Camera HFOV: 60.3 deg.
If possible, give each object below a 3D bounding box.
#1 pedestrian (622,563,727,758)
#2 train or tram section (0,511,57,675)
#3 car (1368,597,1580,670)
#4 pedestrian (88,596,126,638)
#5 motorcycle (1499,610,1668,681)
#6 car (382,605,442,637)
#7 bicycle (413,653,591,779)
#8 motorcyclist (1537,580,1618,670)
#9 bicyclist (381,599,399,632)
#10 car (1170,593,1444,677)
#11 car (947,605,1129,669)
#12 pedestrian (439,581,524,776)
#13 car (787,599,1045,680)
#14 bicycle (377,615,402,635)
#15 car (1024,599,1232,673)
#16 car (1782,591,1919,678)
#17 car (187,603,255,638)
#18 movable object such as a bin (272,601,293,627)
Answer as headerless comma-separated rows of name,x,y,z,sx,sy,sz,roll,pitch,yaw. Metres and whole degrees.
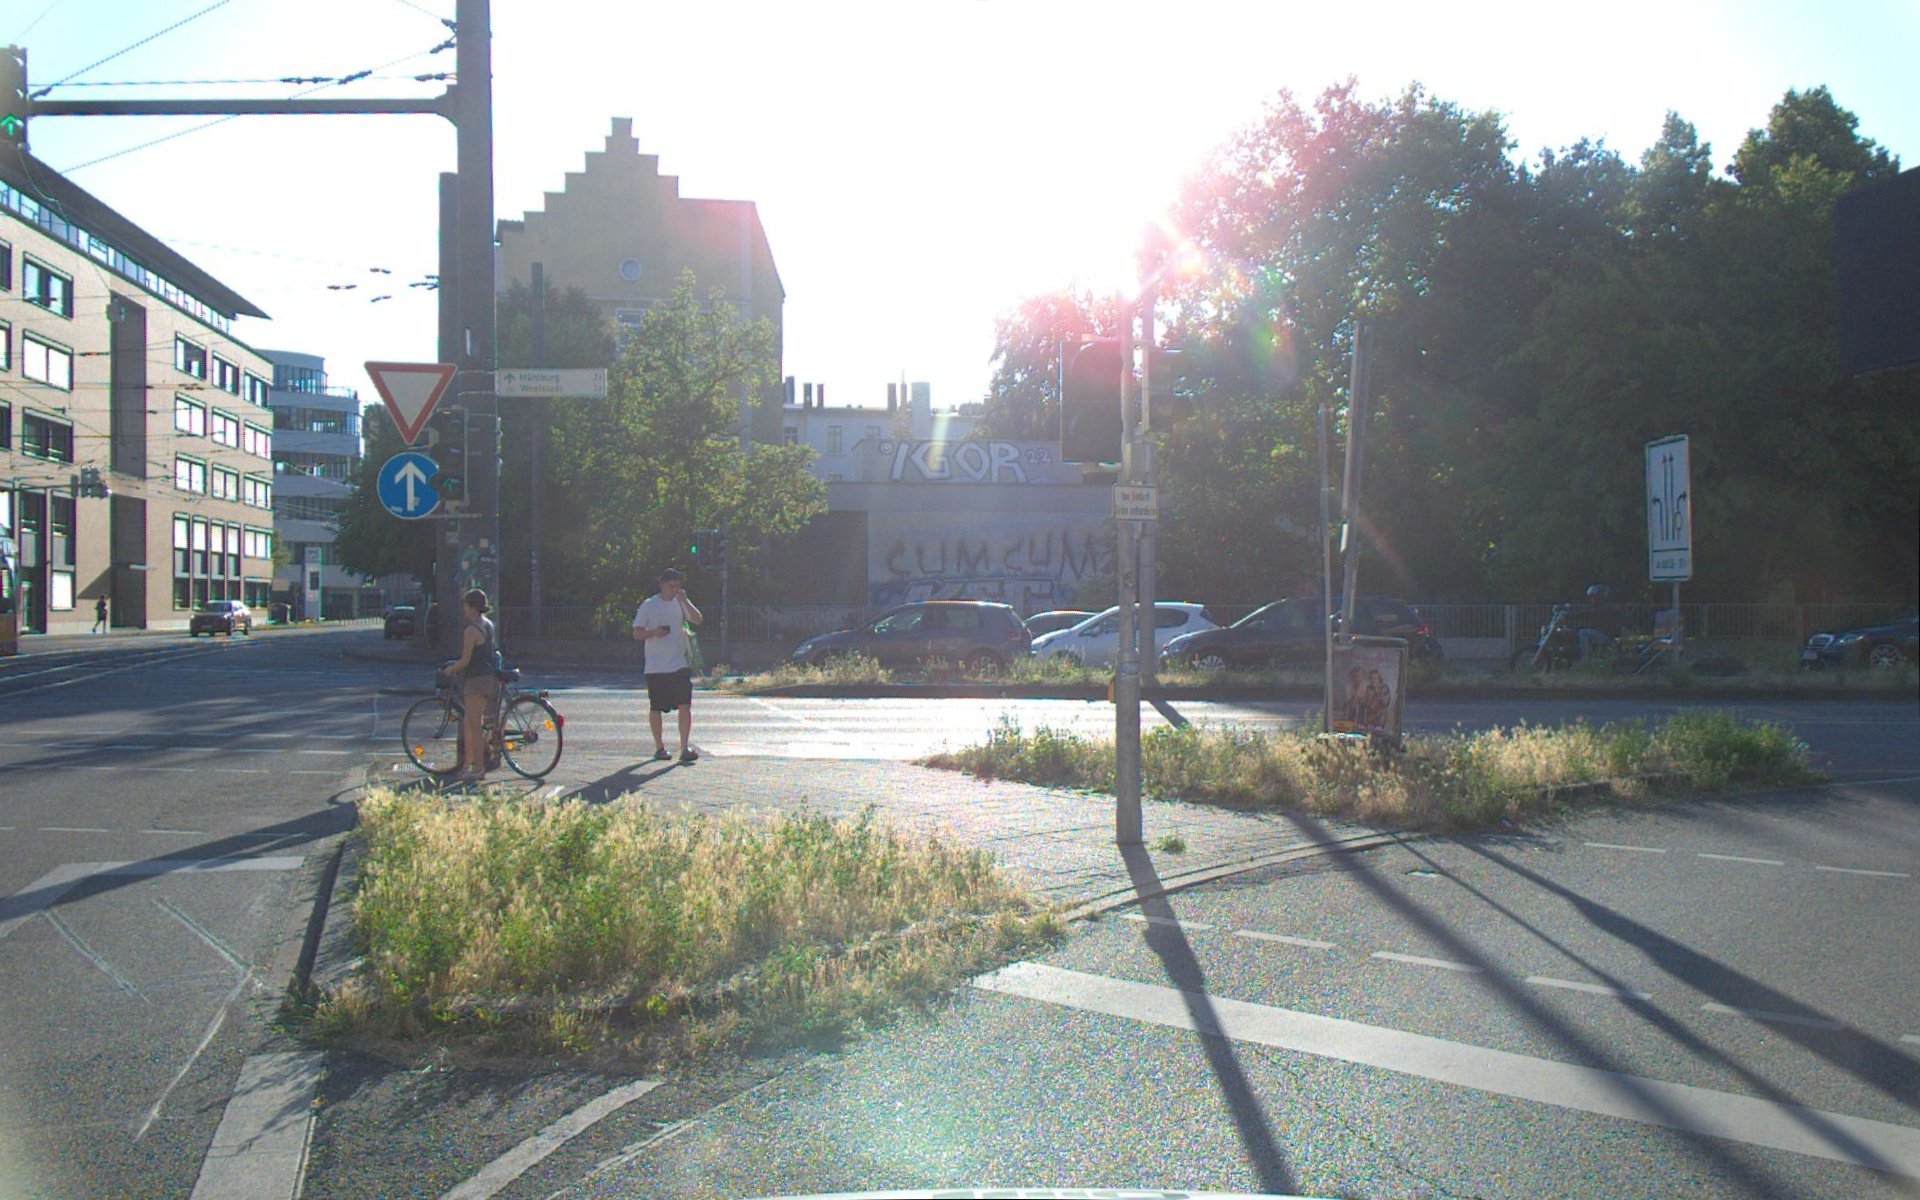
pedestrian,-2.763,0.561,15.963,0.894,1.820,0.823,0,0,-18
train or tram section,-22.285,-0.147,35.809,2.817,3.569,11.237,0,0,-18
car,10.838,0.689,35.060,3.906,1.489,1.859,0,0,-1
pedestrian,-42.443,0.839,82.304,1.217,2.049,1.551,0,0,-8
motorcycle,10.068,0.727,26.789,2.409,1.127,0.862,0,0,6
car,-24.717,0.933,74.696,1.750,1.412,3.995,0,0,-6
bicycle,-4.027,0.997,14.511,1.633,1.047,0.399,-1,-1,25
motorcyclist,9.993,0.404,26.800,1.035,1.422,0.855,0,0,6
bicyclist,-27.100,0.720,78.626,0.660,1.549,0.812,0,0,-7
car,5.630,0.563,27.287,4.270,1.319,1.725,0,0,6
car,1.696,0.782,35.523,3.800,1.319,1.725,0,0,4
pedestrian,-4.155,0.668,14.373,0.513,1.660,0.489,-1,-1,25
car,-0.708,0.655,28.073,4.144,1.319,1.726,0,0,7
bicycle,-27.091,1.173,78.581,0.681,0.892,2.024,0,0,-6
car,3.144,0.675,31.307,3.800,1.342,1.725,0,0,4
car,18.126,0.605,30.260,5.166,1.522,2.000,0,0,0
car,-35.270,0.965,79.029,1.782,1.643,4.457,0,0,-8
movable object such as a bin,-43.576,0.902,106.340,1.046,1.657,0.887,0,0,-10
